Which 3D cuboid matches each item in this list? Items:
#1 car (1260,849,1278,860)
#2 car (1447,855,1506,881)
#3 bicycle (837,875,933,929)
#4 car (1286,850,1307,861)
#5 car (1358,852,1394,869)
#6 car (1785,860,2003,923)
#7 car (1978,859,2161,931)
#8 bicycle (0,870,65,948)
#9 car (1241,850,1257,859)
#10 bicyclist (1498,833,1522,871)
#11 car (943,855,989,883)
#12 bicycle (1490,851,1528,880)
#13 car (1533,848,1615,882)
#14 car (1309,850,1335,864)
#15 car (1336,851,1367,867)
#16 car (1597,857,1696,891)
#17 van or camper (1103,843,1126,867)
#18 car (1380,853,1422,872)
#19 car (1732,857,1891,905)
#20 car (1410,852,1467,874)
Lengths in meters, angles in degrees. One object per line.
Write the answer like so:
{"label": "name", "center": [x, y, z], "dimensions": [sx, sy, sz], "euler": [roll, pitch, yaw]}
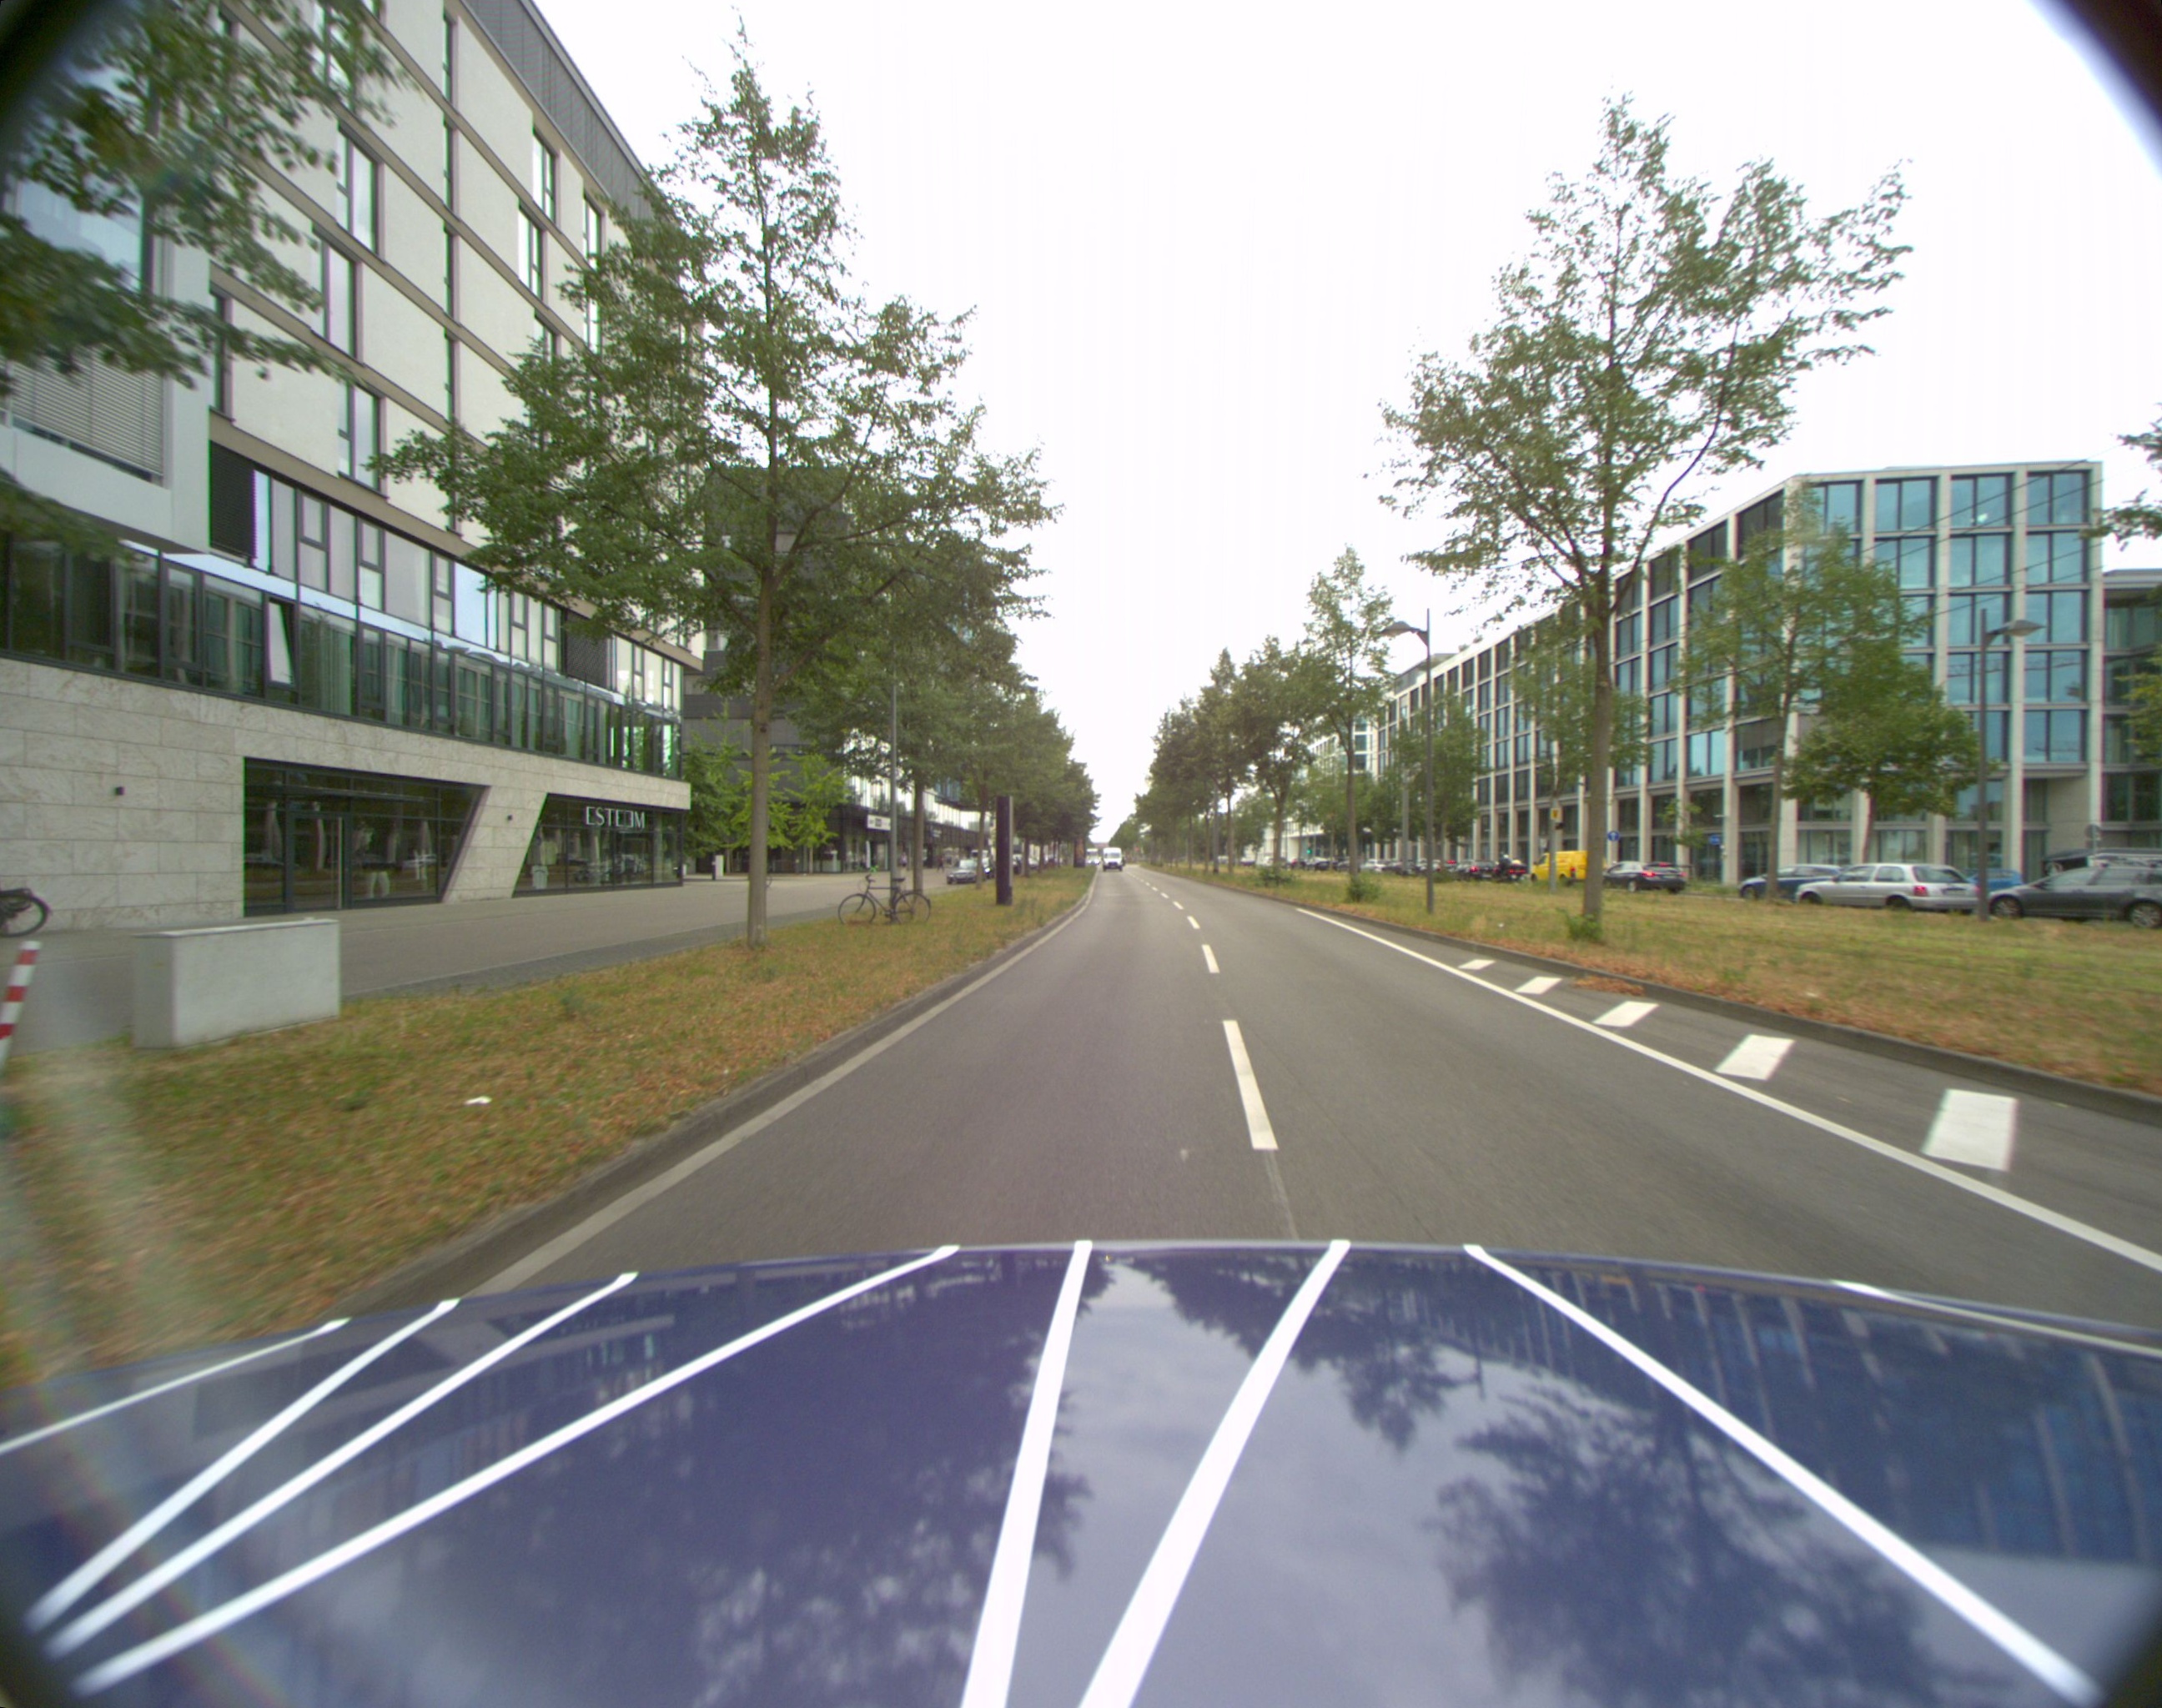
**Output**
{"label": "car", "center": [26.474, 0.059, 107.167], "dimensions": [1.752, 1.448, 3.865], "euler": [0, 0, 3]}
{"label": "car", "center": [23.824, 0.825, 45.934], "dimensions": [1.752, 1.448, 3.866], "euler": [0, 0, 4]}
{"label": "bicycle", "center": [-3.832, 0.933, 14.915], "dimensions": [1.790, 1.013, 0.422], "euler": [0, 1, -13]}
{"label": "car", "center": [26.833, 0.181, 94.803], "dimensions": [1.752, 1.448, 3.865], "euler": [0, 0, 3]}
{"label": "car", "center": [25.378, 0.549, 65.422], "dimensions": [1.752, 1.448, 3.865], "euler": [0, 0, 3]}
{"label": "car", "center": [21.493, 0.929, 20.350], "dimensions": [1.752, 1.488, 3.865], "euler": [0, 0, 2]}
{"label": "car", "center": [24.445, 0.905, 17.812], "dimensions": [1.753, 1.520, 4.279], "euler": [0, 0, 0]}
{"label": "bicycle", "center": [-17.723, 0.850, 11.662], "dimensions": [2.425, 1.170, 1.202], "euler": [0, 1, -6]}
{"label": "car", "center": [26.632, 0.116, 120.526], "dimensions": [1.752, 1.448, 3.865], "euler": [0, 0, 3]}
{"label": "bicyclist", "center": [23.493, -0.106, 41.626], "dimensions": [0.742, 2.002, 0.995], "euler": [-2, 1, -1]}
{"label": "car", "center": [-6.520, 0.809, 43.347], "dimensions": [1.954, 1.521, 4.000], "euler": [0, 0, 1]}
{"label": "bicycle", "center": [23.511, 0.628, 41.820], "dimensions": [0.711, 1.479, 2.358], "euler": [-2, 0, 0]}
{"label": "car", "center": [26.873, 0.580, 41.621], "dimensions": [1.956, 1.761, 4.446], "euler": [0, 0, 6]}
{"label": "car", "center": [26.242, 0.328, 82.879], "dimensions": [1.752, 1.448, 3.865], "euler": [0, 0, 3]}
{"label": "car", "center": [25.384, 0.483, 71.377], "dimensions": [1.752, 1.448, 3.865], "euler": [0, 0, 3]}
{"label": "car", "center": [25.639, 0.856, 34.618], "dimensions": [1.752, 1.448, 3.866], "euler": [0, 0, 4]}
{"label": "van or camper", "center": [3.571, 0.089, 81.826], "dimensions": [2.183, 2.494, 6.339], "euler": [-1, 0, 1]}
{"label": "car", "center": [24.928, 0.635, 59.320], "dimensions": [1.752, 1.448, 3.865], "euler": [0, 0, 3]}
{"label": "car", "center": [24.626, 0.851, 25.834], "dimensions": [1.752, 1.488, 3.865], "euler": [0, 0, 2]}
{"label": "car", "center": [24.150, 0.595, 51.478], "dimensions": [1.998, 1.410, 4.000], "euler": [0, 0, 1]}
